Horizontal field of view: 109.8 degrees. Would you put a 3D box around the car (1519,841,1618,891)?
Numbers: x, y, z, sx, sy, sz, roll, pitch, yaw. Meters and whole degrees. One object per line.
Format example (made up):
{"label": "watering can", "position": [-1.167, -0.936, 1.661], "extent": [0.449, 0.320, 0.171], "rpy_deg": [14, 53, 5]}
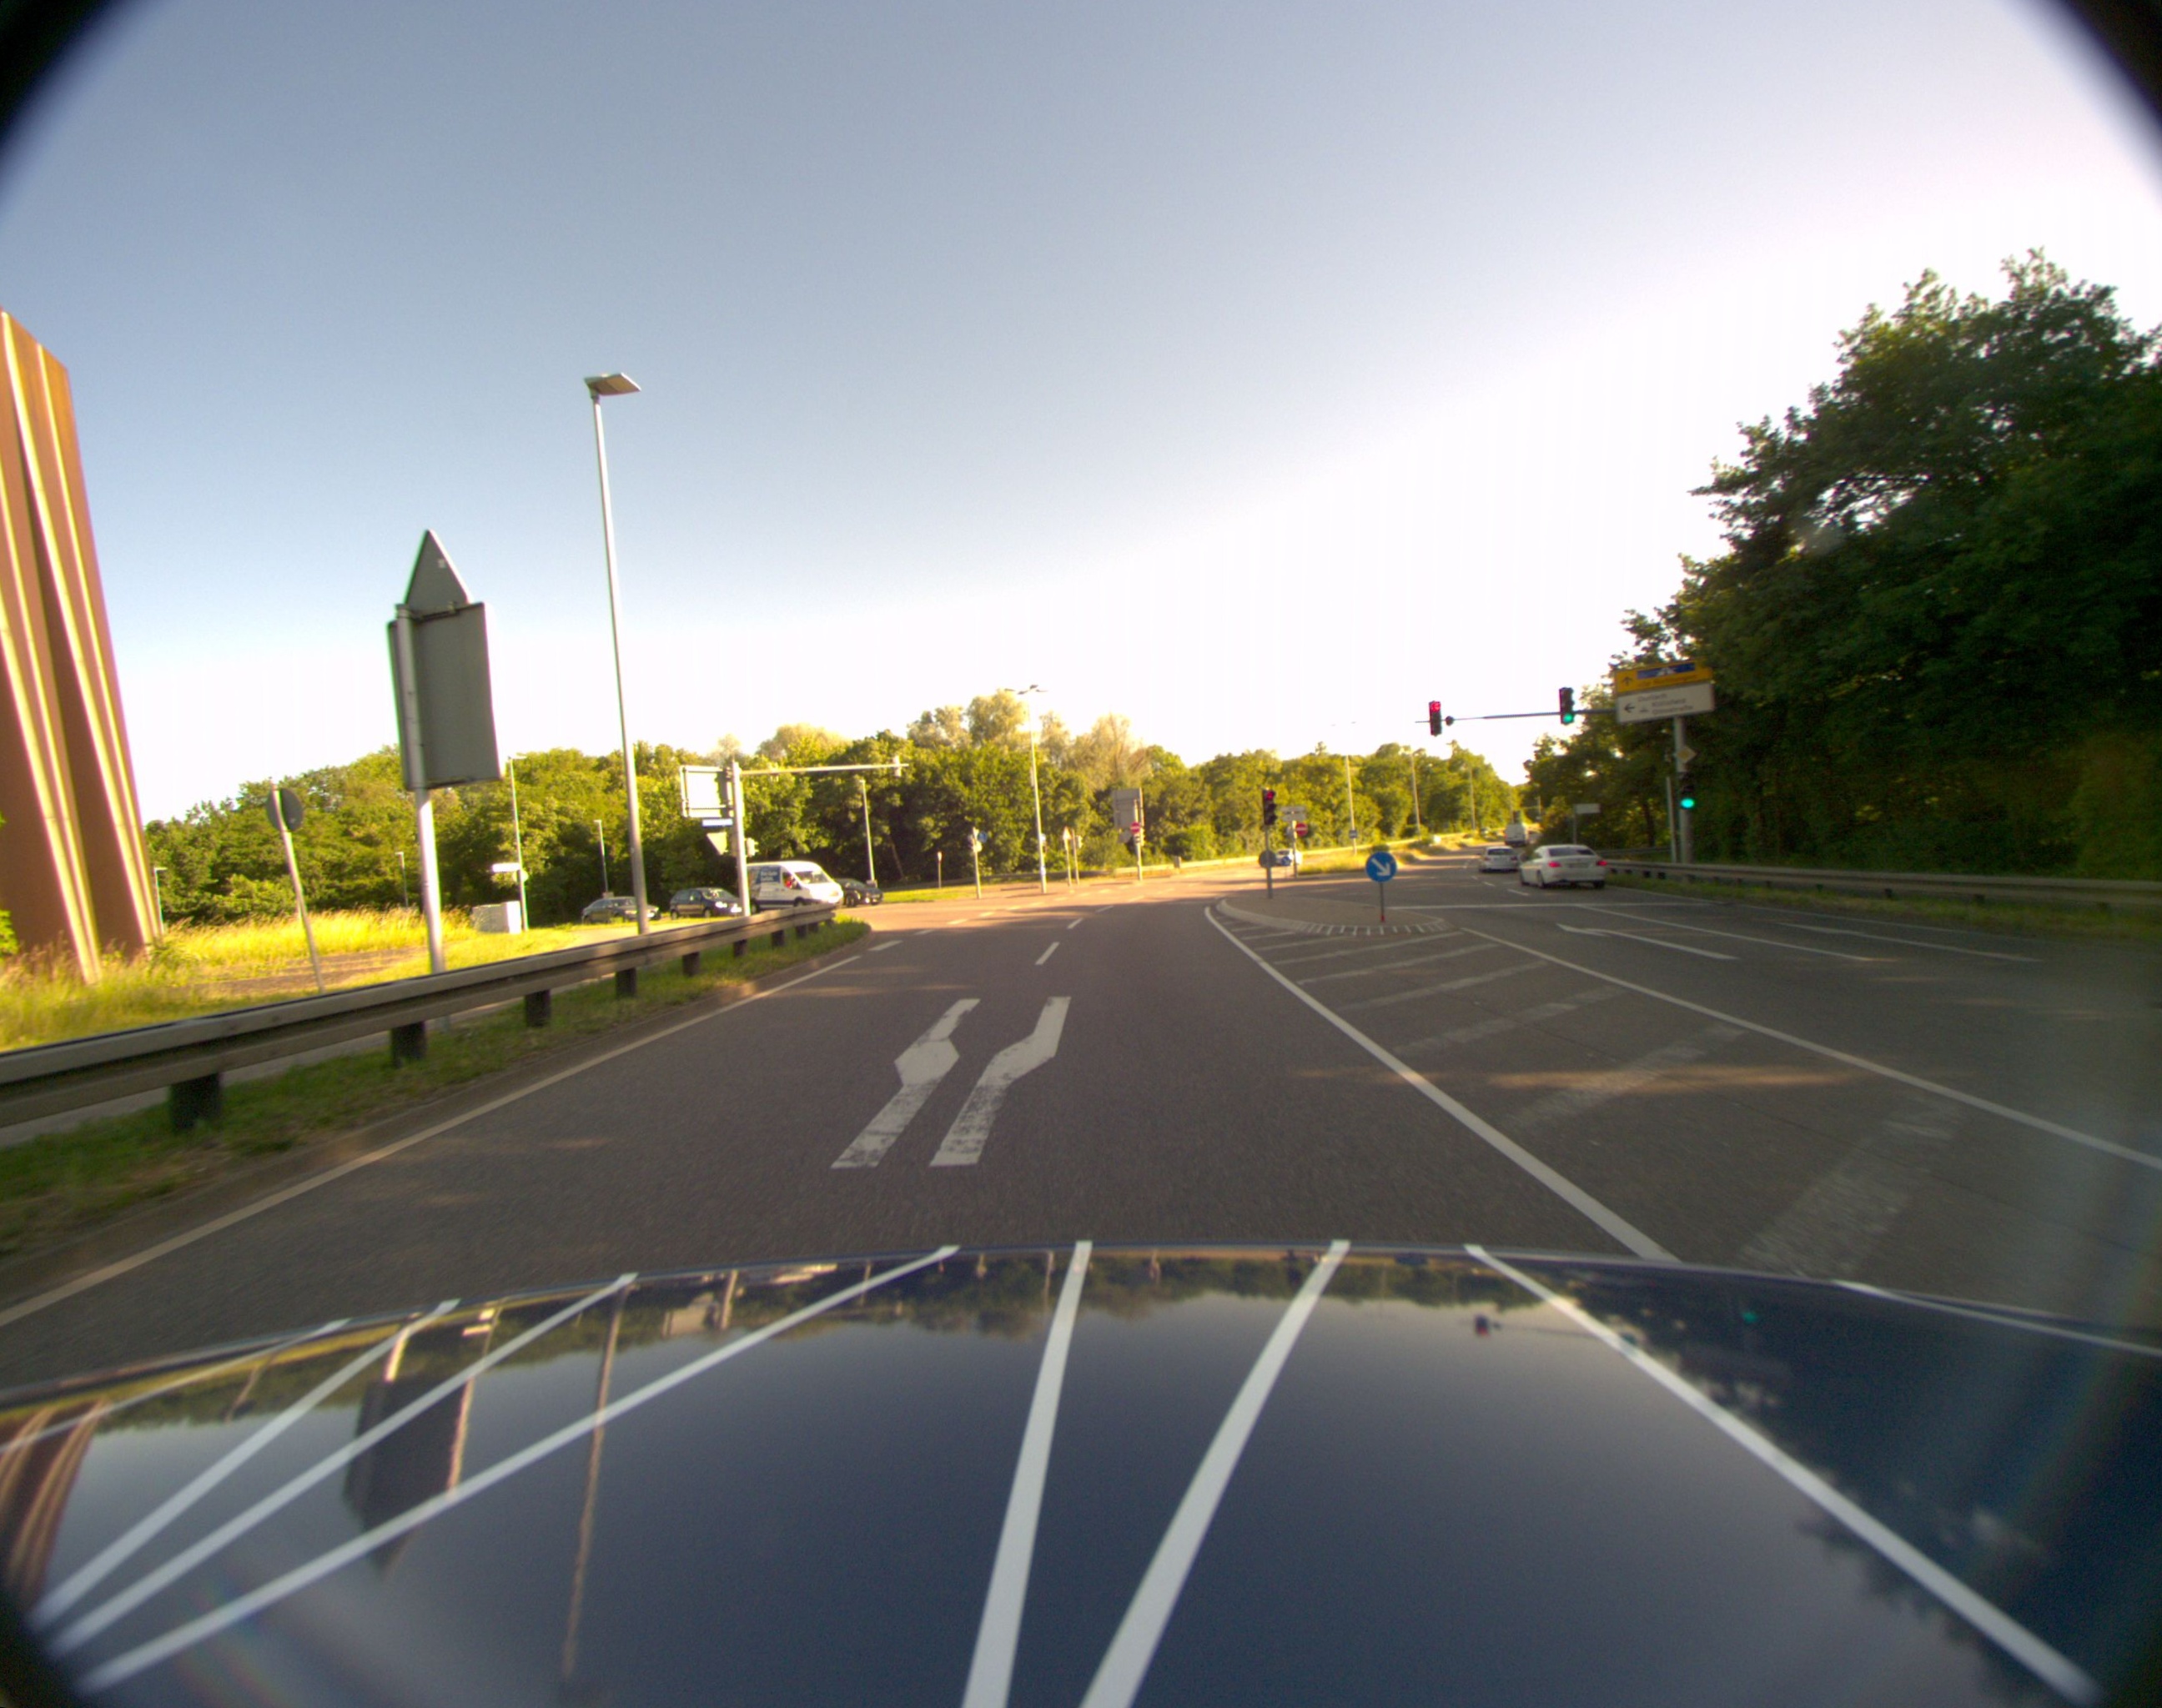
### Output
{"label": "car", "position": [16.492, 0.347, 25.959], "extent": [1.849, 1.479, 4.635], "rpy_deg": [-3, 0, 20]}

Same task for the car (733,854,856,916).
{"label": "car", "position": [-13.440, 1.447, 35.470], "extent": [5.692, 2.484, 2.118], "rpy_deg": [-5, -1, 31]}

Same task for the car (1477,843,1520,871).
{"label": "car", "position": [22.406, 0.120, 40.886], "extent": [1.702, 1.382, 4.534], "rpy_deg": [-1, 1, 25]}

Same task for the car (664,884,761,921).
{"label": "car", "position": [-15.953, 2.080, 32.827], "extent": [3.978, 1.405, 1.848], "rpy_deg": [-3, 0, 32]}

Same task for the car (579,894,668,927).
{"label": "car", "position": [-21.679, 2.662, 35.974], "extent": [4.279, 1.383, 1.651], "rpy_deg": [-3, 0, 29]}

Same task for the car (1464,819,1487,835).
{"label": "car", "position": [52.250, -3.526, 100.634], "extent": [1.995, 2.002, 4.007], "rpy_deg": [-2, 0, 38]}

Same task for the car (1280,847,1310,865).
{"label": "car", "position": [19.020, 0.183, 67.413], "extent": [1.761, 1.428, 4.337], "rpy_deg": [-2, 0, 25]}

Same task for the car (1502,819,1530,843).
{"label": "car", "position": [47.799, -2.506, 83.513], "extent": [2.265, 2.538, 6.408], "rpy_deg": [-1, 1, 26]}

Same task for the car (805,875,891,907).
{"label": "car", "position": [-11.839, 1.889, 38.602], "extent": [4.078, 1.431, 1.772], "rpy_deg": [-3, 0, 29]}
